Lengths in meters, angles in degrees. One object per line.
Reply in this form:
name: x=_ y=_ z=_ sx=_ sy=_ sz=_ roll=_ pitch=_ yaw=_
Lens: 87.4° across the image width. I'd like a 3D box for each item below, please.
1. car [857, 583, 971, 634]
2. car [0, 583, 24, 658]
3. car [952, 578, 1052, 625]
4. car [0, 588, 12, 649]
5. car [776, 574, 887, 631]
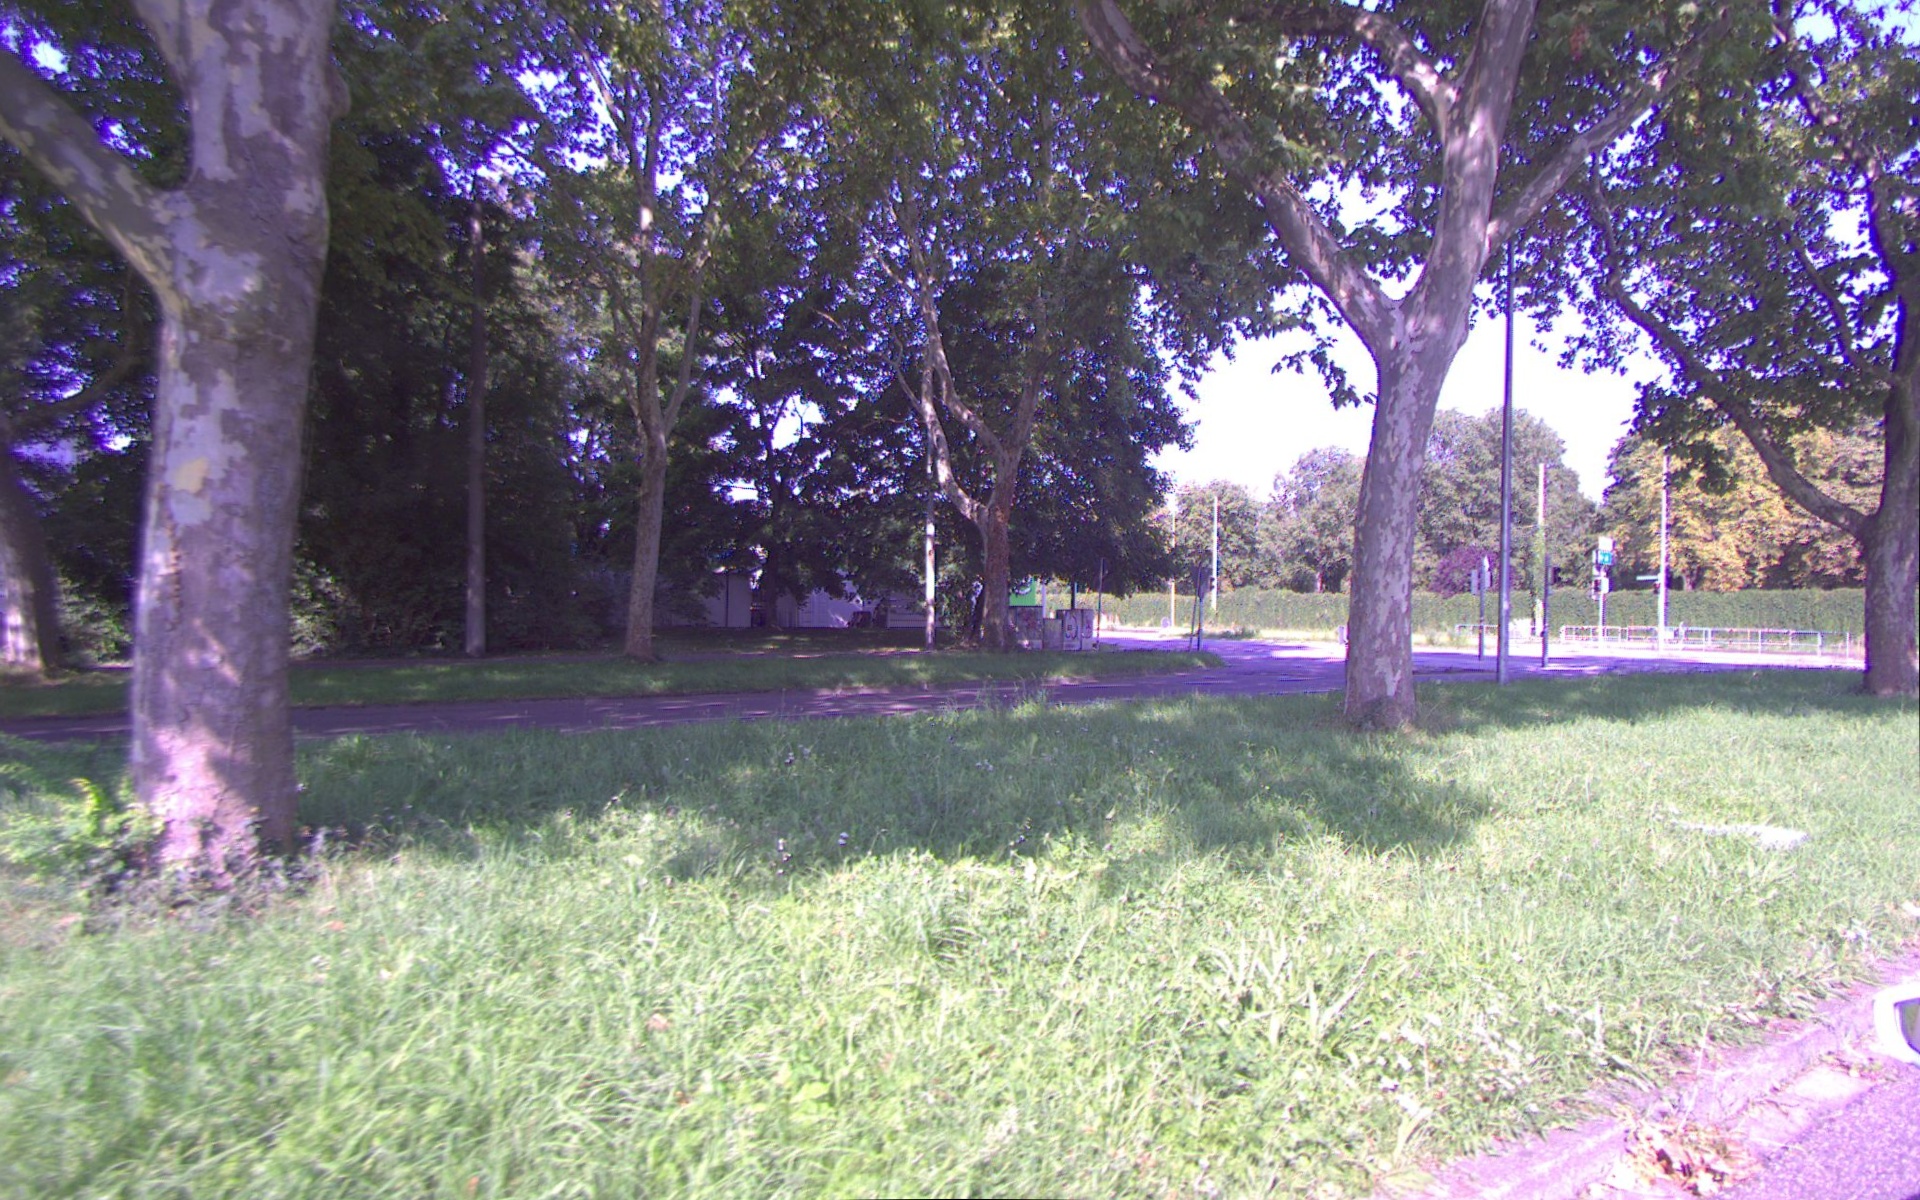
car: x=-2.033 y=0.413 z=44.760 sx=4.664 sy=2.165 sz=2.164 roll=1 pitch=-1 yaw=-36
car: x=-24.526 y=0.438 z=22.877 sx=4.330 sy=1.749 sz=1.691 roll=1 pitch=0 yaw=-26
car: x=2.231 y=0.098 z=52.610 sx=5.073 sy=2.293 sz=2.016 roll=2 pitch=0 yaw=-36
car: x=-29.273 y=0.500 z=27.863 sx=3.947 sy=1.749 sz=1.691 roll=1 pitch=0 yaw=-26
car: x=-5.933 y=0.153 z=46.537 sx=4.664 sy=2.472 sz=2.164 roll=1 pitch=-1 yaw=-36
